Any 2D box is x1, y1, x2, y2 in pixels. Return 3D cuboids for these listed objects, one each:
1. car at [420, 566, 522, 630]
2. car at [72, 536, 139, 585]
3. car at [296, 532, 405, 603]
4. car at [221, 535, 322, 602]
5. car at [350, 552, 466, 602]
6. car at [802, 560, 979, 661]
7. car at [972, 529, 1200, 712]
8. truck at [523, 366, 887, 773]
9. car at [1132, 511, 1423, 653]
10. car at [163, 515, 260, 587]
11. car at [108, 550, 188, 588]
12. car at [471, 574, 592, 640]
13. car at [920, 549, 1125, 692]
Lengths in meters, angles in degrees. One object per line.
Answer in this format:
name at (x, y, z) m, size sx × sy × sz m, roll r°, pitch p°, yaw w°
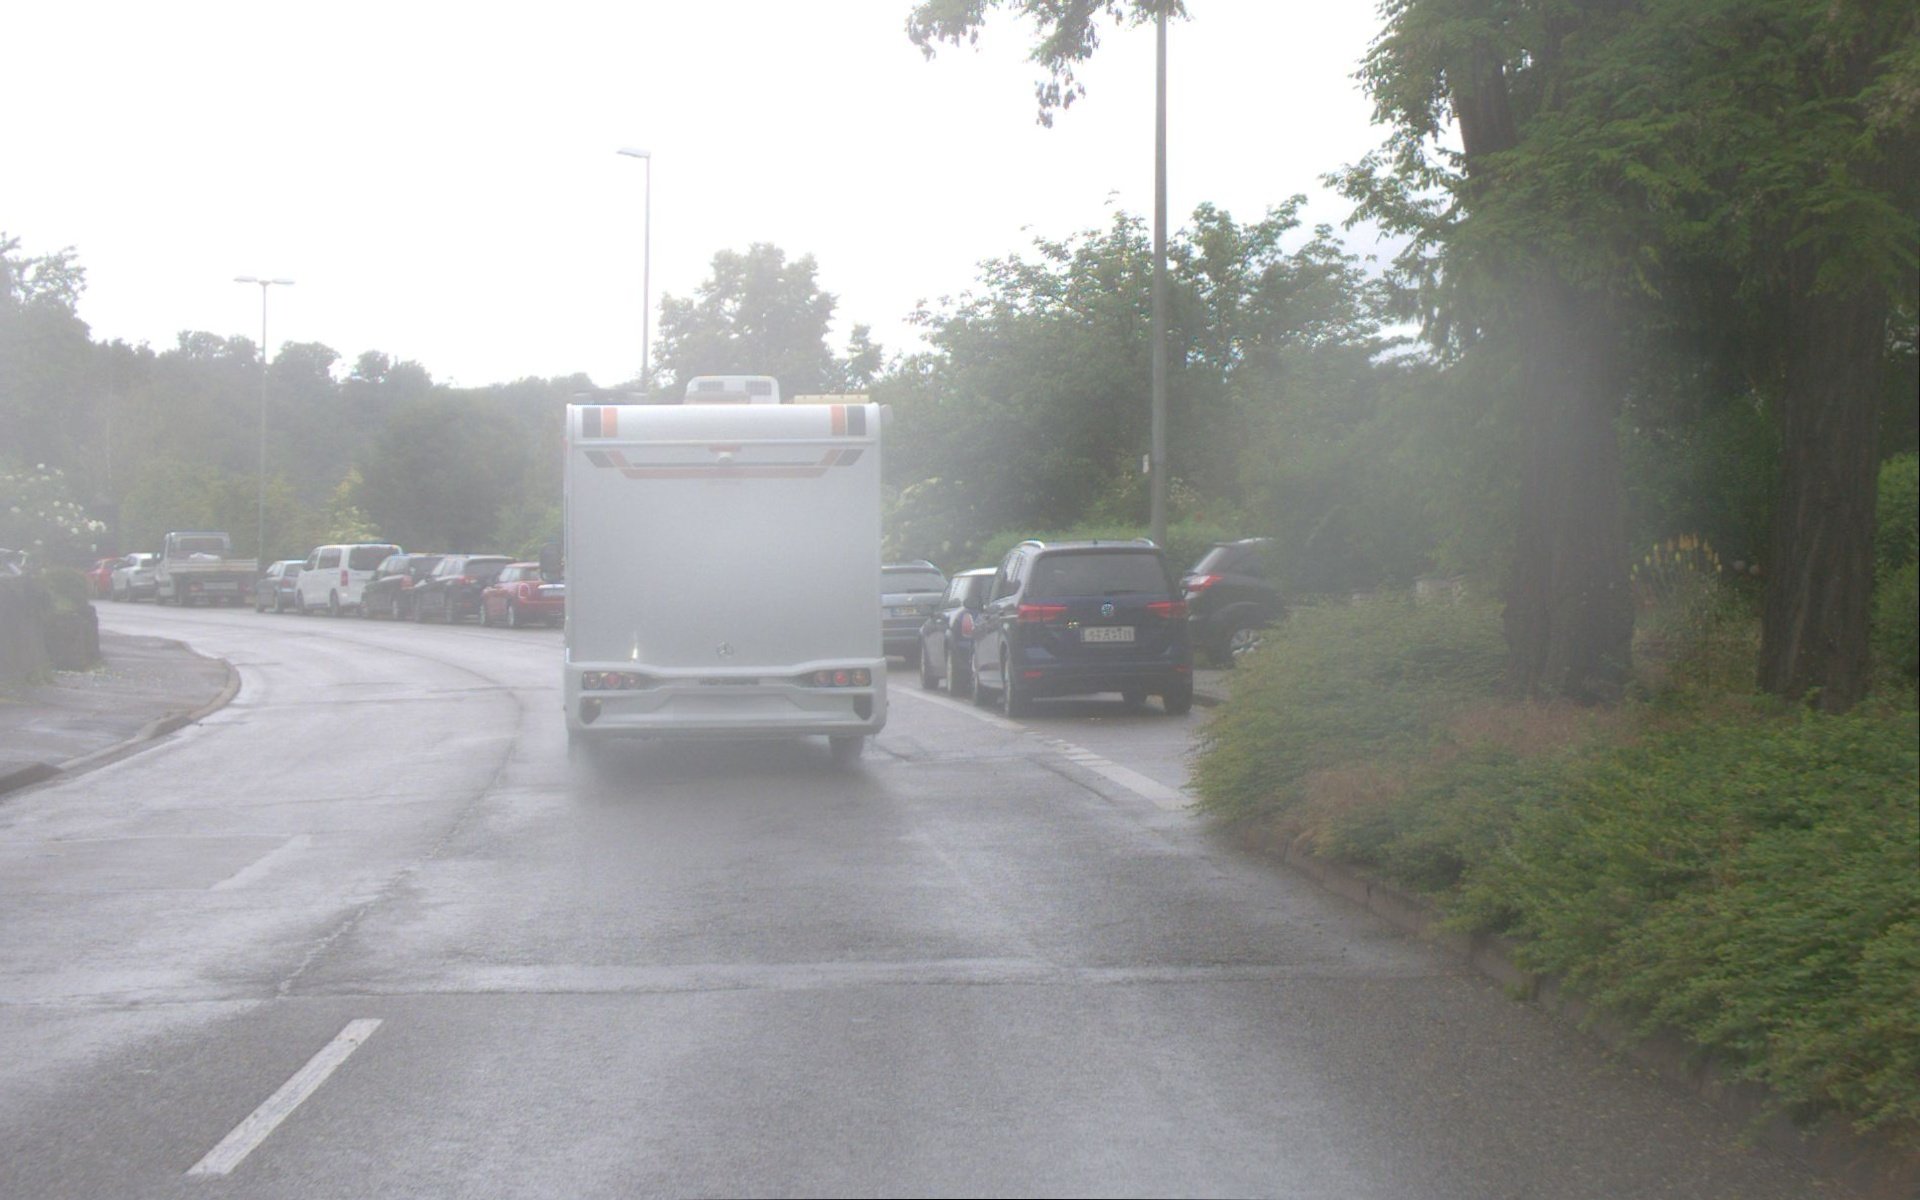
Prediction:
car at (-11.450, -0.029, 80.325) m, size 1.539 × 1.322 × 4.001 m, roll 4°, pitch -2°, yaw -19°
car at (-30.015, -1.386, 120.662) m, size 1.514 × 1.671 × 3.582 m, roll 1°, pitch 1°, yaw -27°
car at (-16.110, -0.837, 90.684) m, size 1.645 × 1.715 × 4.000 m, roll 5°, pitch -2°, yaw -27°
car at (-19.244, -0.849, 96.019) m, size 1.645 × 1.715 × 4.000 m, roll 5°, pitch -2°, yaw -27°
car at (-13.827, -0.547, 85.978) m, size 1.645 × 1.097 × 4.000 m, roll 5°, pitch -2°, yaw -27°
car at (-1.023, 0.120, 48.353) m, size 1.539 × 1.322 × 4.001 m, roll 1°, pitch 1°, yaw -15°
car at (1.161, 0.166, 33.501) m, size 1.993 × 1.634 × 4.000 m, roll 1°, pitch 1°, yaw -1°
truck at (-2.100, -0.253, 26.912) m, size 2.515 × 2.808 × 6.203 m, roll 0°, pitch 1°, yaw -6°
car at (4.358, -0.223, 47.545) m, size 3.623 × 1.658 × 2.000 m, roll 4°, pitch -2°, yaw -5°
car at (-23.341, -1.507, 107.097) m, size 1.739 × 2.037 × 4.515 m, roll 5°, pitch -2°, yaw -27°
car at (-26.943, -1.021, 114.011) m, size 1.645 × 1.097 × 4.000 m, roll 5°, pitch -2°, yaw -27°
car at (-9.474, 0.166, 75.812) m, size 1.539 × 1.322 × 3.865 m, roll 4°, pitch -2°, yaw -23°
car at (0.655, 0.197, 39.187) m, size 1.854 × 1.512 × 4.001 m, roll 1°, pitch 1°, yaw -6°
